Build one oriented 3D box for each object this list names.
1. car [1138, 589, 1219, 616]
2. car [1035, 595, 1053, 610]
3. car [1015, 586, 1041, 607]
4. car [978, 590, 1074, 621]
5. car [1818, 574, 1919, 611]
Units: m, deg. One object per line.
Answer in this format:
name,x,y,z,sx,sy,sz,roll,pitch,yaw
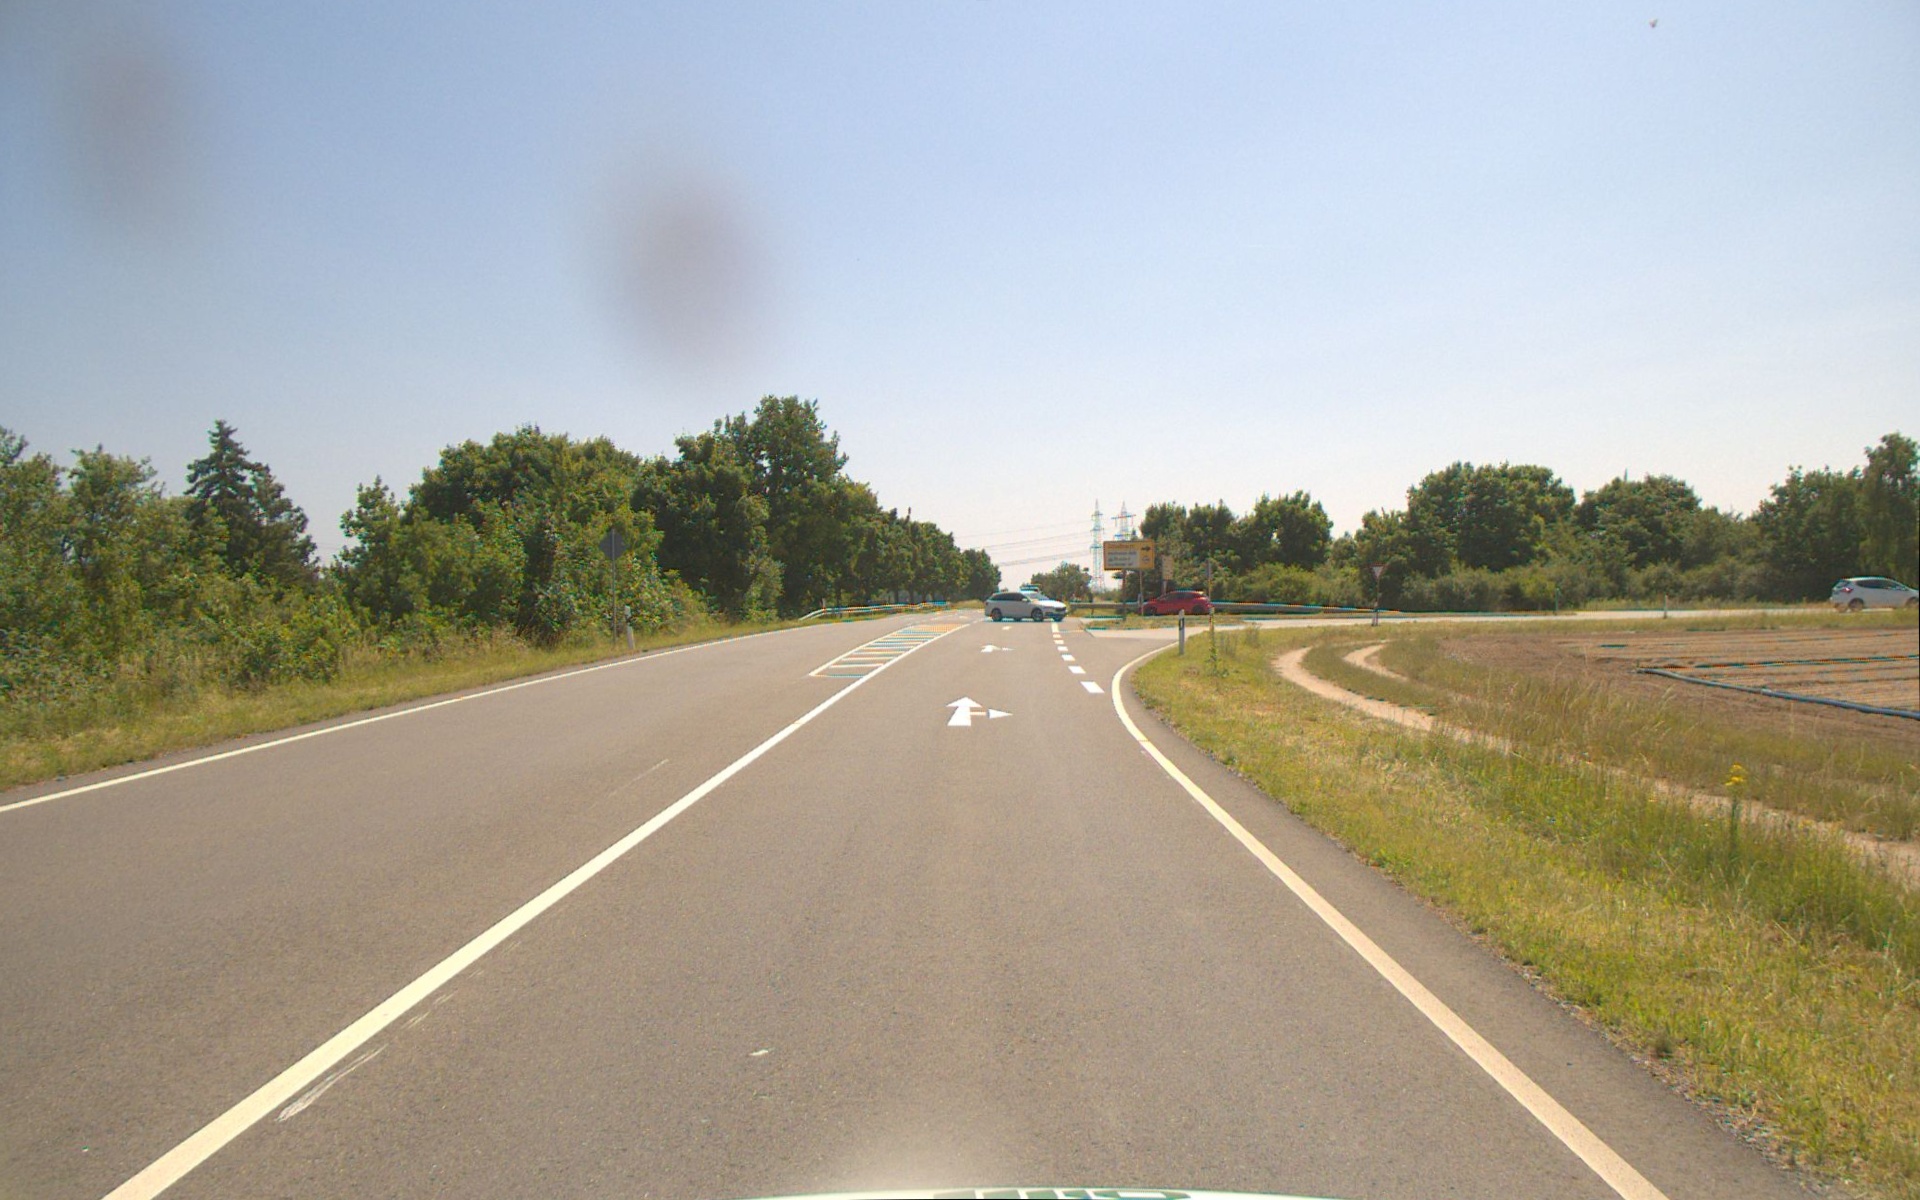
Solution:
car,11.767,0.138,88.932,4.065,1.443,1.780,-1,-1,16
car,8.012,0.237,158.248,1.610,1.364,4.040,1,0,1
car,5.006,-0.254,122.014,1.846,1.544,4.040,1,0,1
car,3.219,0.265,81.470,4.630,1.443,1.831,1,0,41
car,43.378,-0.353,78.700,4.040,1.652,2.073,-1,0,10
